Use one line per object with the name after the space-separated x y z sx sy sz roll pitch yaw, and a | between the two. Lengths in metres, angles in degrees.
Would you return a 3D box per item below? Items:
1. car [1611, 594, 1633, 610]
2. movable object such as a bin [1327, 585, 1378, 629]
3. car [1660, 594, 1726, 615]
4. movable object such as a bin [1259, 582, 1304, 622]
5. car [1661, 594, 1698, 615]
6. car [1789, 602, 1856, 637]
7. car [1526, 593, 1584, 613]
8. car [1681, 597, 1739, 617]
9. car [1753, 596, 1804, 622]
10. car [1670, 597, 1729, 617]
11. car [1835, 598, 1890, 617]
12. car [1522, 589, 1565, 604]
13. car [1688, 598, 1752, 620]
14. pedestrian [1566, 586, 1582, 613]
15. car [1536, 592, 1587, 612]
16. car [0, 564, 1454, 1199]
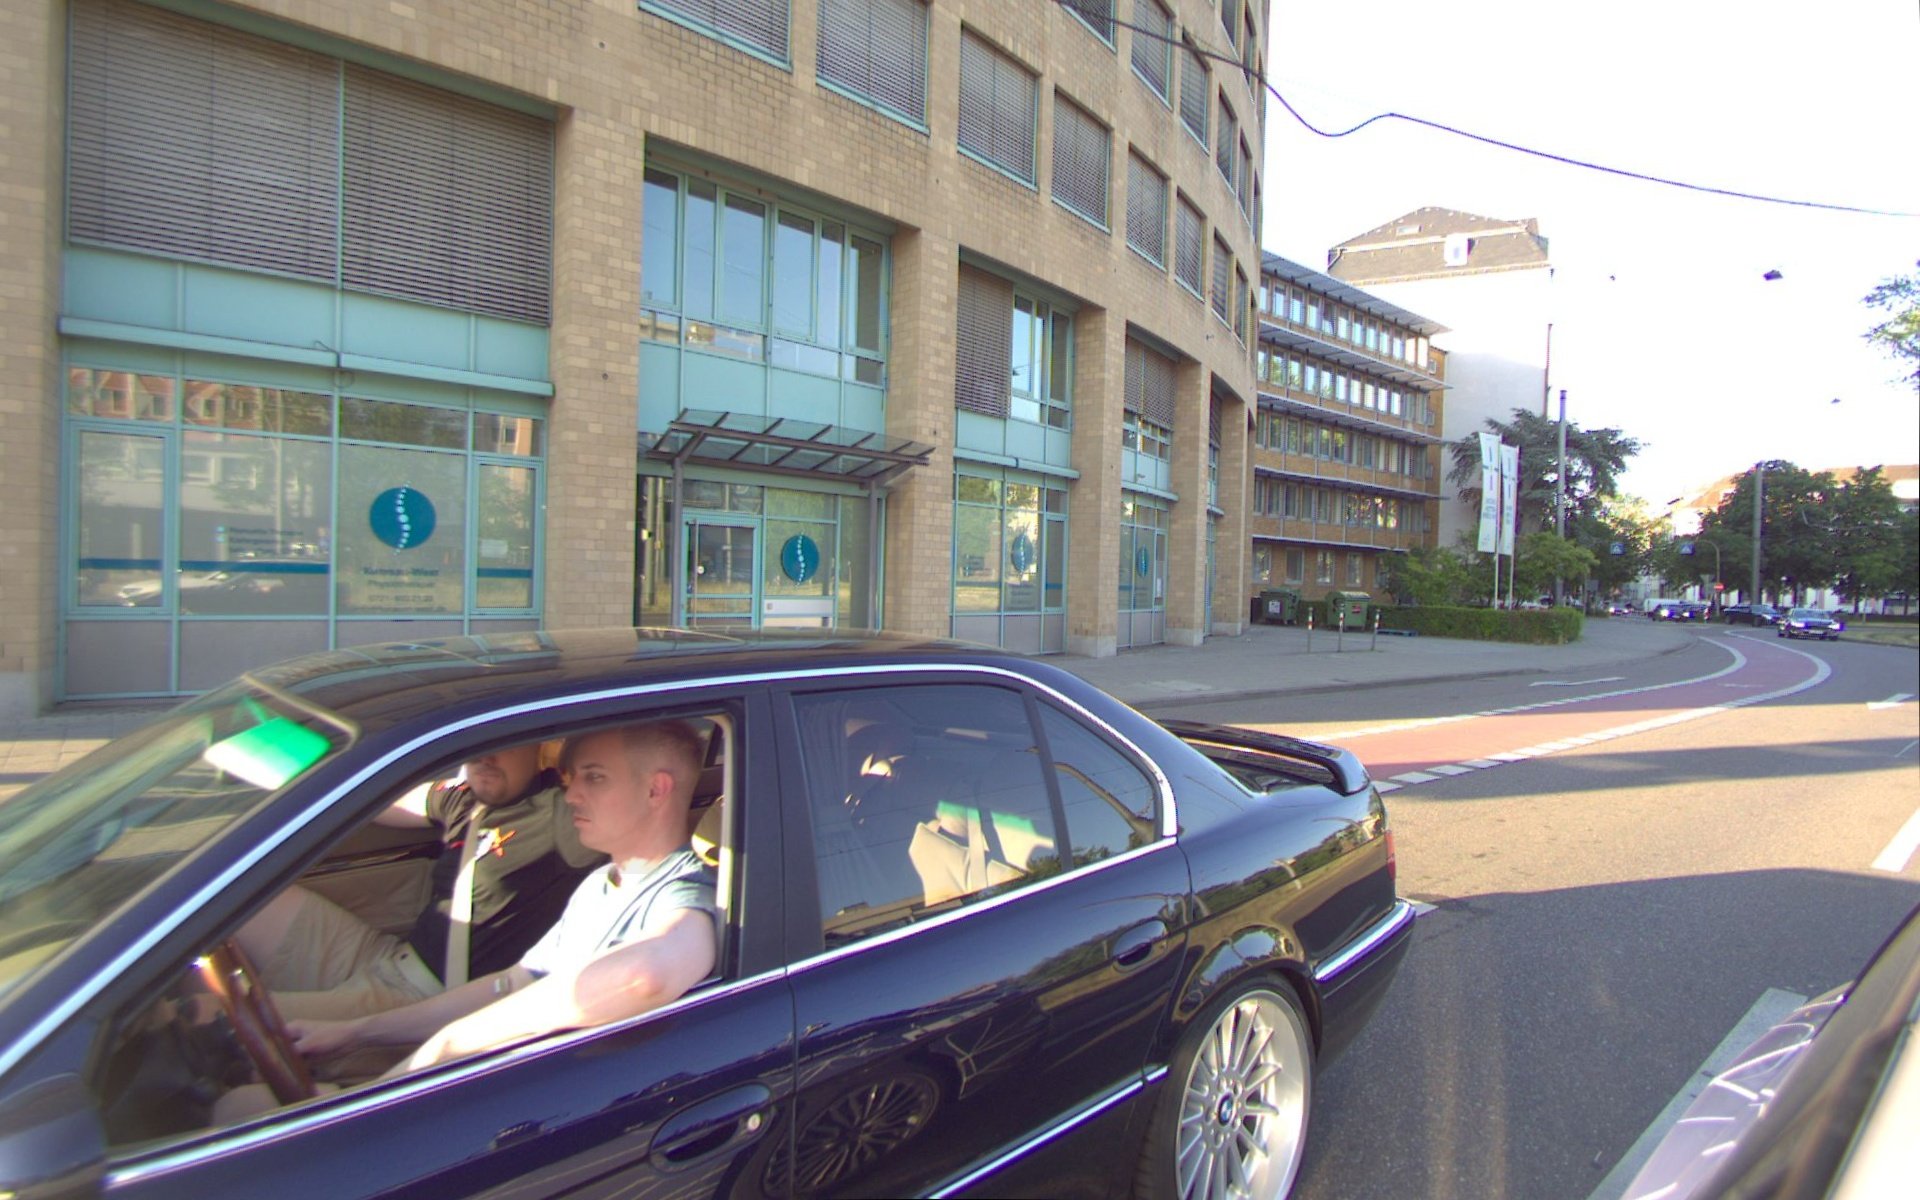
68.151 0.213 104.190 1.809 1.501 4.084 2 0 34 | car
13.921 0.248 35.937 1.317 1.455 0.976 2 0 -22 | movable object such as a bin
75.041 0.424 103.655 2.083 1.926 5.078 2 1 -39 | car
12.217 0.066 38.492 1.340 1.442 0.910 3 0 42 | movable object such as a bin
55.038 0.342 77.453 1.805 1.501 4.092 3 1 29 | car
40.388 0.892 47.475 1.808 1.501 4.085 3 1 33 | car
53.259 0.292 90.650 4.361 1.577 1.819 3 1 29 | car
68.788 0.663 92.897 4.055 1.638 1.969 3 1 43 | car
50.729 0.576 62.781 1.806 1.501 4.090 3 1 30 | car
66.765 0.622 91.401 4.055 1.571 1.969 3 1 43 | car
92.063 0.741 103.217 1.672 1.746 4.007 2 1 -42 | car
71.054 -0.446 123.246 4.357 1.633 1.713 3 1 27 | car
63.026 0.723 83.976 4.055 1.576 1.837 3 1 43 | car
43.023 -0.047 70.946 0.805 1.814 0.593 2 0 -30 | pedestrian
56.180 0.193 94.624 4.035 1.589 1.818 3 1 30 | car
-0.923 0.652 2.020 4.560 1.371 1.833 1 0 -42 | car
